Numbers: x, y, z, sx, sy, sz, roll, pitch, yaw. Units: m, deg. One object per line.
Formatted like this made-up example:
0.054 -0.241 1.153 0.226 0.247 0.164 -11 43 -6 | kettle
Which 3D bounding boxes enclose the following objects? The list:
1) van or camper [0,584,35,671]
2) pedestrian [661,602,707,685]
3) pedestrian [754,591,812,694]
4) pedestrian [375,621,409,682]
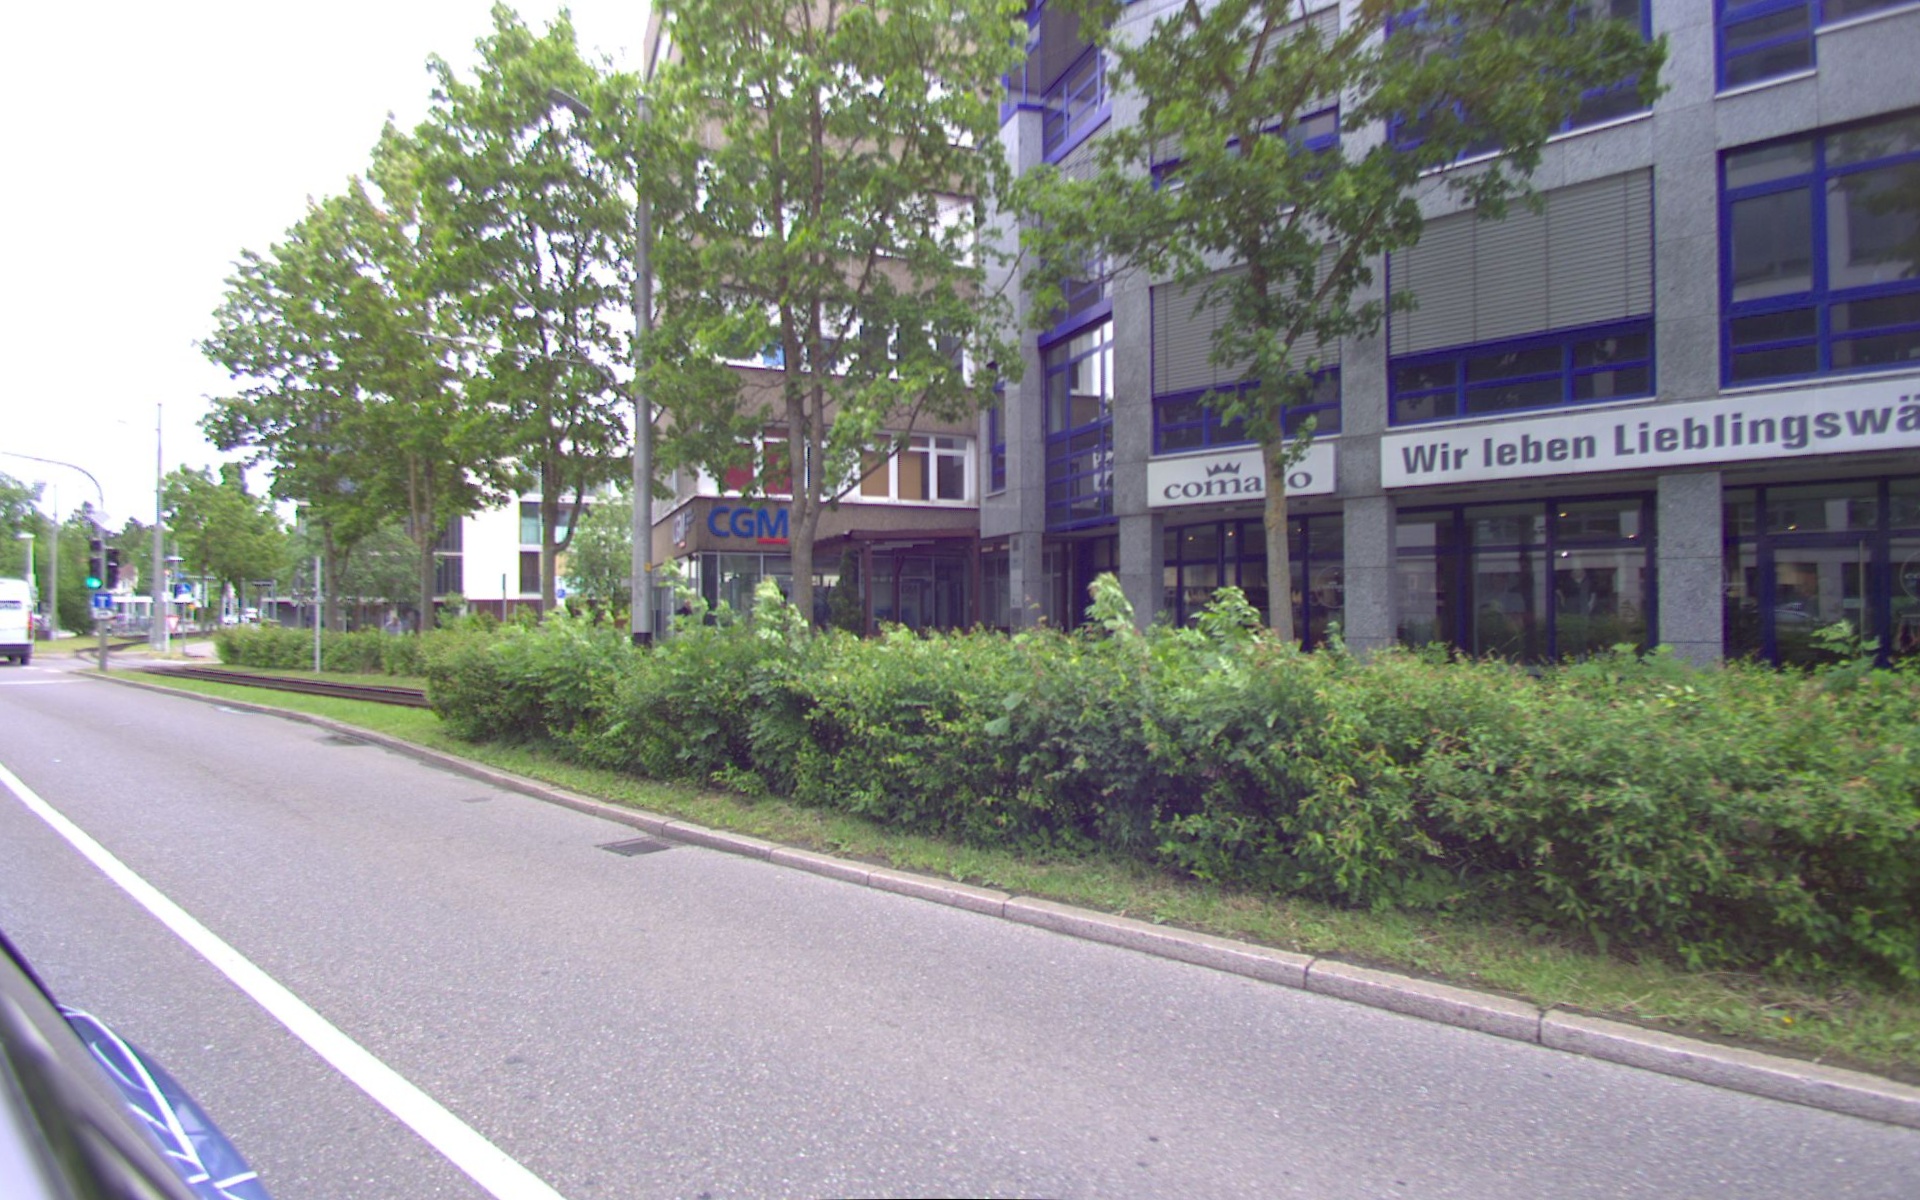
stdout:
-32.782 0.891 33.909 6.150 2.754 2.085 0 0 42 | van or camper
-6.480 1.004 23.747 0.731 1.908 0.767 -1 0 39 | pedestrian
-3.417 0.793 19.556 0.731 1.938 0.805 -1 0 40 | pedestrian
-17.461 1.565 31.101 0.730 1.819 0.672 -1 0 36 | pedestrian
